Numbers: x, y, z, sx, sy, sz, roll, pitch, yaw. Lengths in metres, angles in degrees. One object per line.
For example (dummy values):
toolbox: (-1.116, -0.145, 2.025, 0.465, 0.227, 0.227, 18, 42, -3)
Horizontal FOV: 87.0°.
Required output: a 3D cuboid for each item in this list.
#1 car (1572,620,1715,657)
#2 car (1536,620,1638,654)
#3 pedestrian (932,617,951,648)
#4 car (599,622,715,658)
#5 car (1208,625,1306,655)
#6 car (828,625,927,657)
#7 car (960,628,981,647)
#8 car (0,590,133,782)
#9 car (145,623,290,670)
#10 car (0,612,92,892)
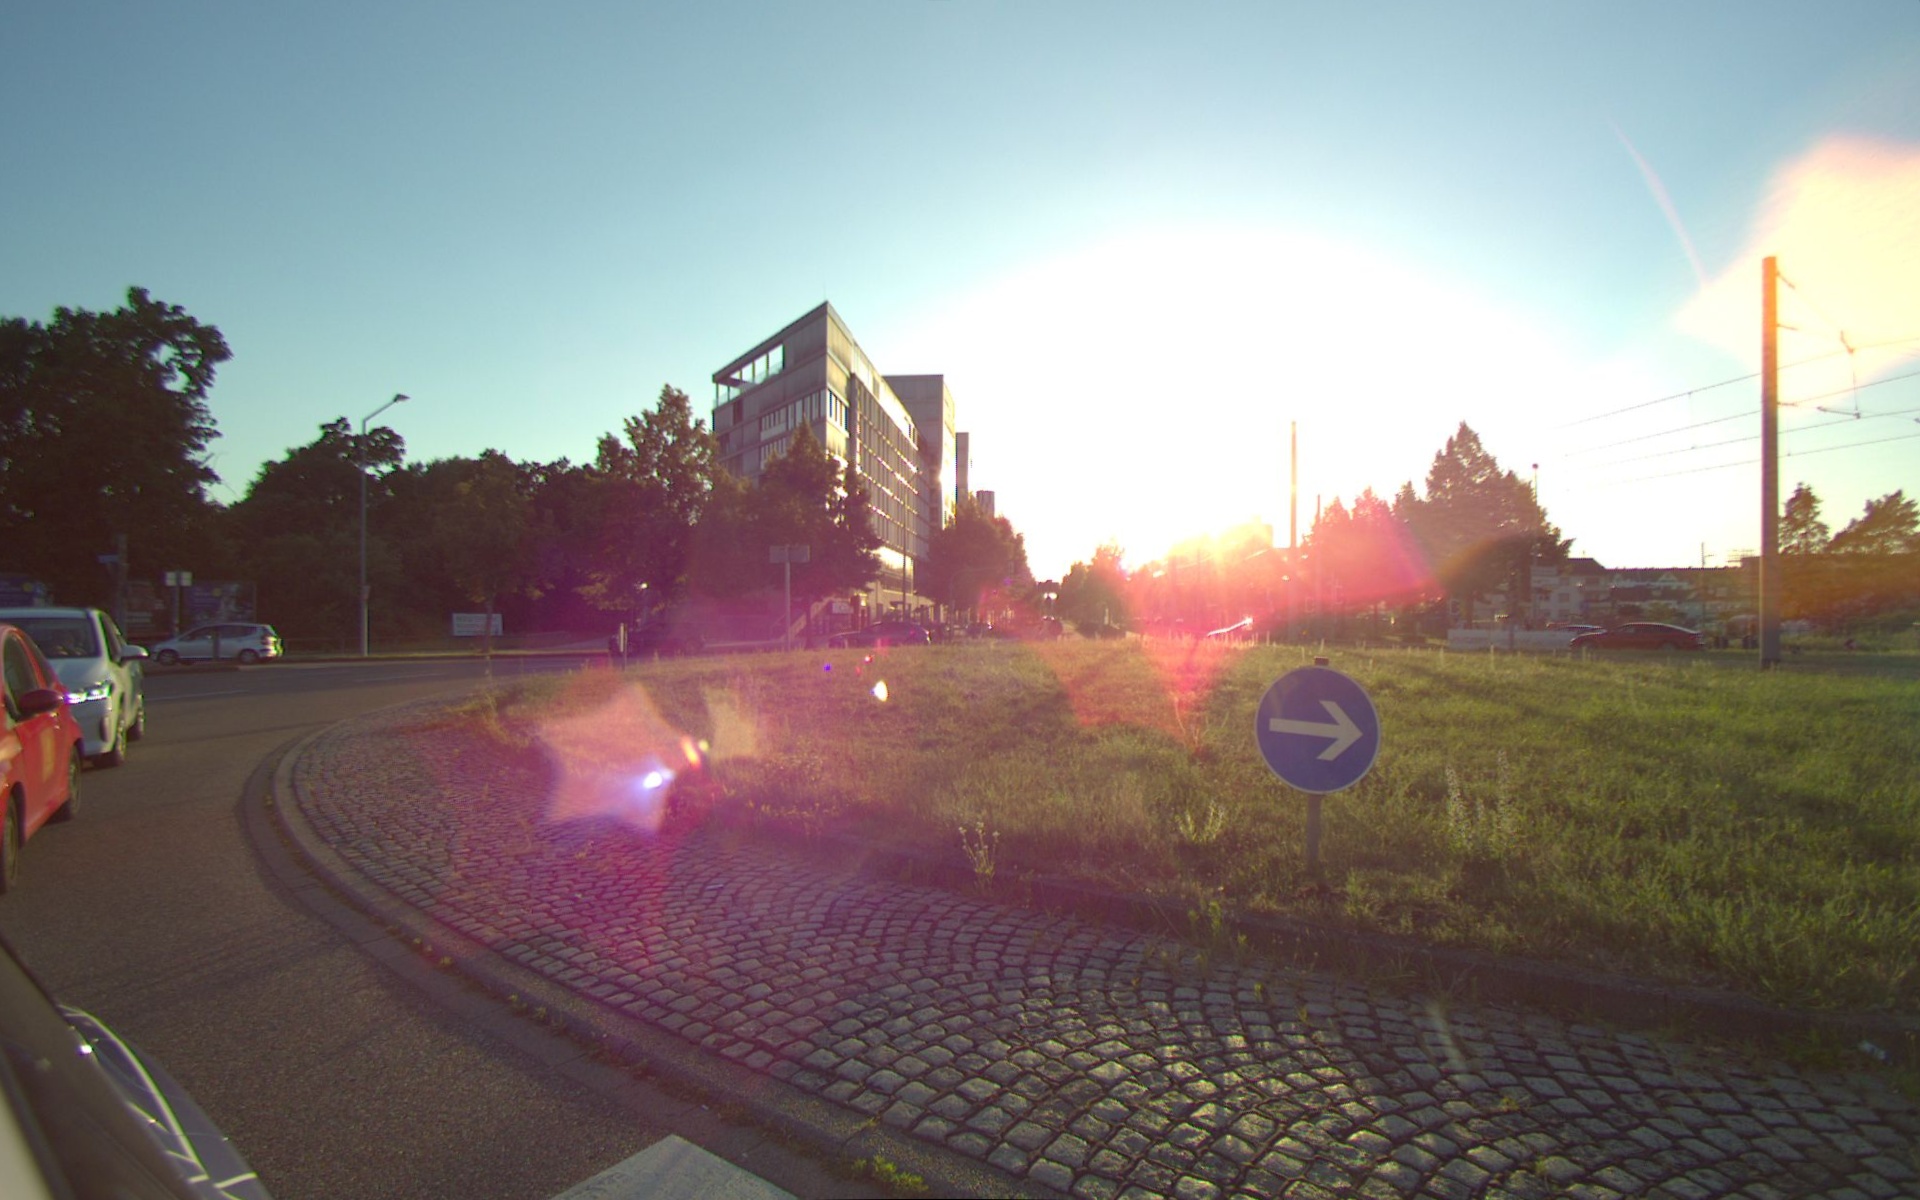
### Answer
car: (27.856, 1.526, 41.389, 1.865, 1.402, 4.505, 1, -1, -39)
car: (31.830, 1.836, 51.467, 1.969, 1.634, 4.006, 1, -1, -41)
pedestrian: (-1.214, 2.145, 66.546, 0.996, 2.029, 0.768, -1, 0, 31)
car: (-12.661, 1.632, 42.300, 4.308, 1.386, 2.006, 0, -1, -28)
car: (14.222, 1.918, 48.697, 4.339, 1.386, 1.992, -1, -1, 13)
car: (-3.865, 1.892, 47.133, 4.279, 1.386, 2.005, 0, -1, -14)
car: (1.187, 4.217, 115.034, 1.976, 2.029, 3.992, 0, -1, 6)
car: (-9.535, 0.762, 10.102, 1.968, 1.618, 4.205, 1, -1, -39)
car: (-26.655, 1.644, 36.481, 3.825, 1.592, 1.961, 0, -1, -20)
car: (-6.384, 0.789, 5.852, 1.661, 1.431, 4.010, 1, -1, -35)
